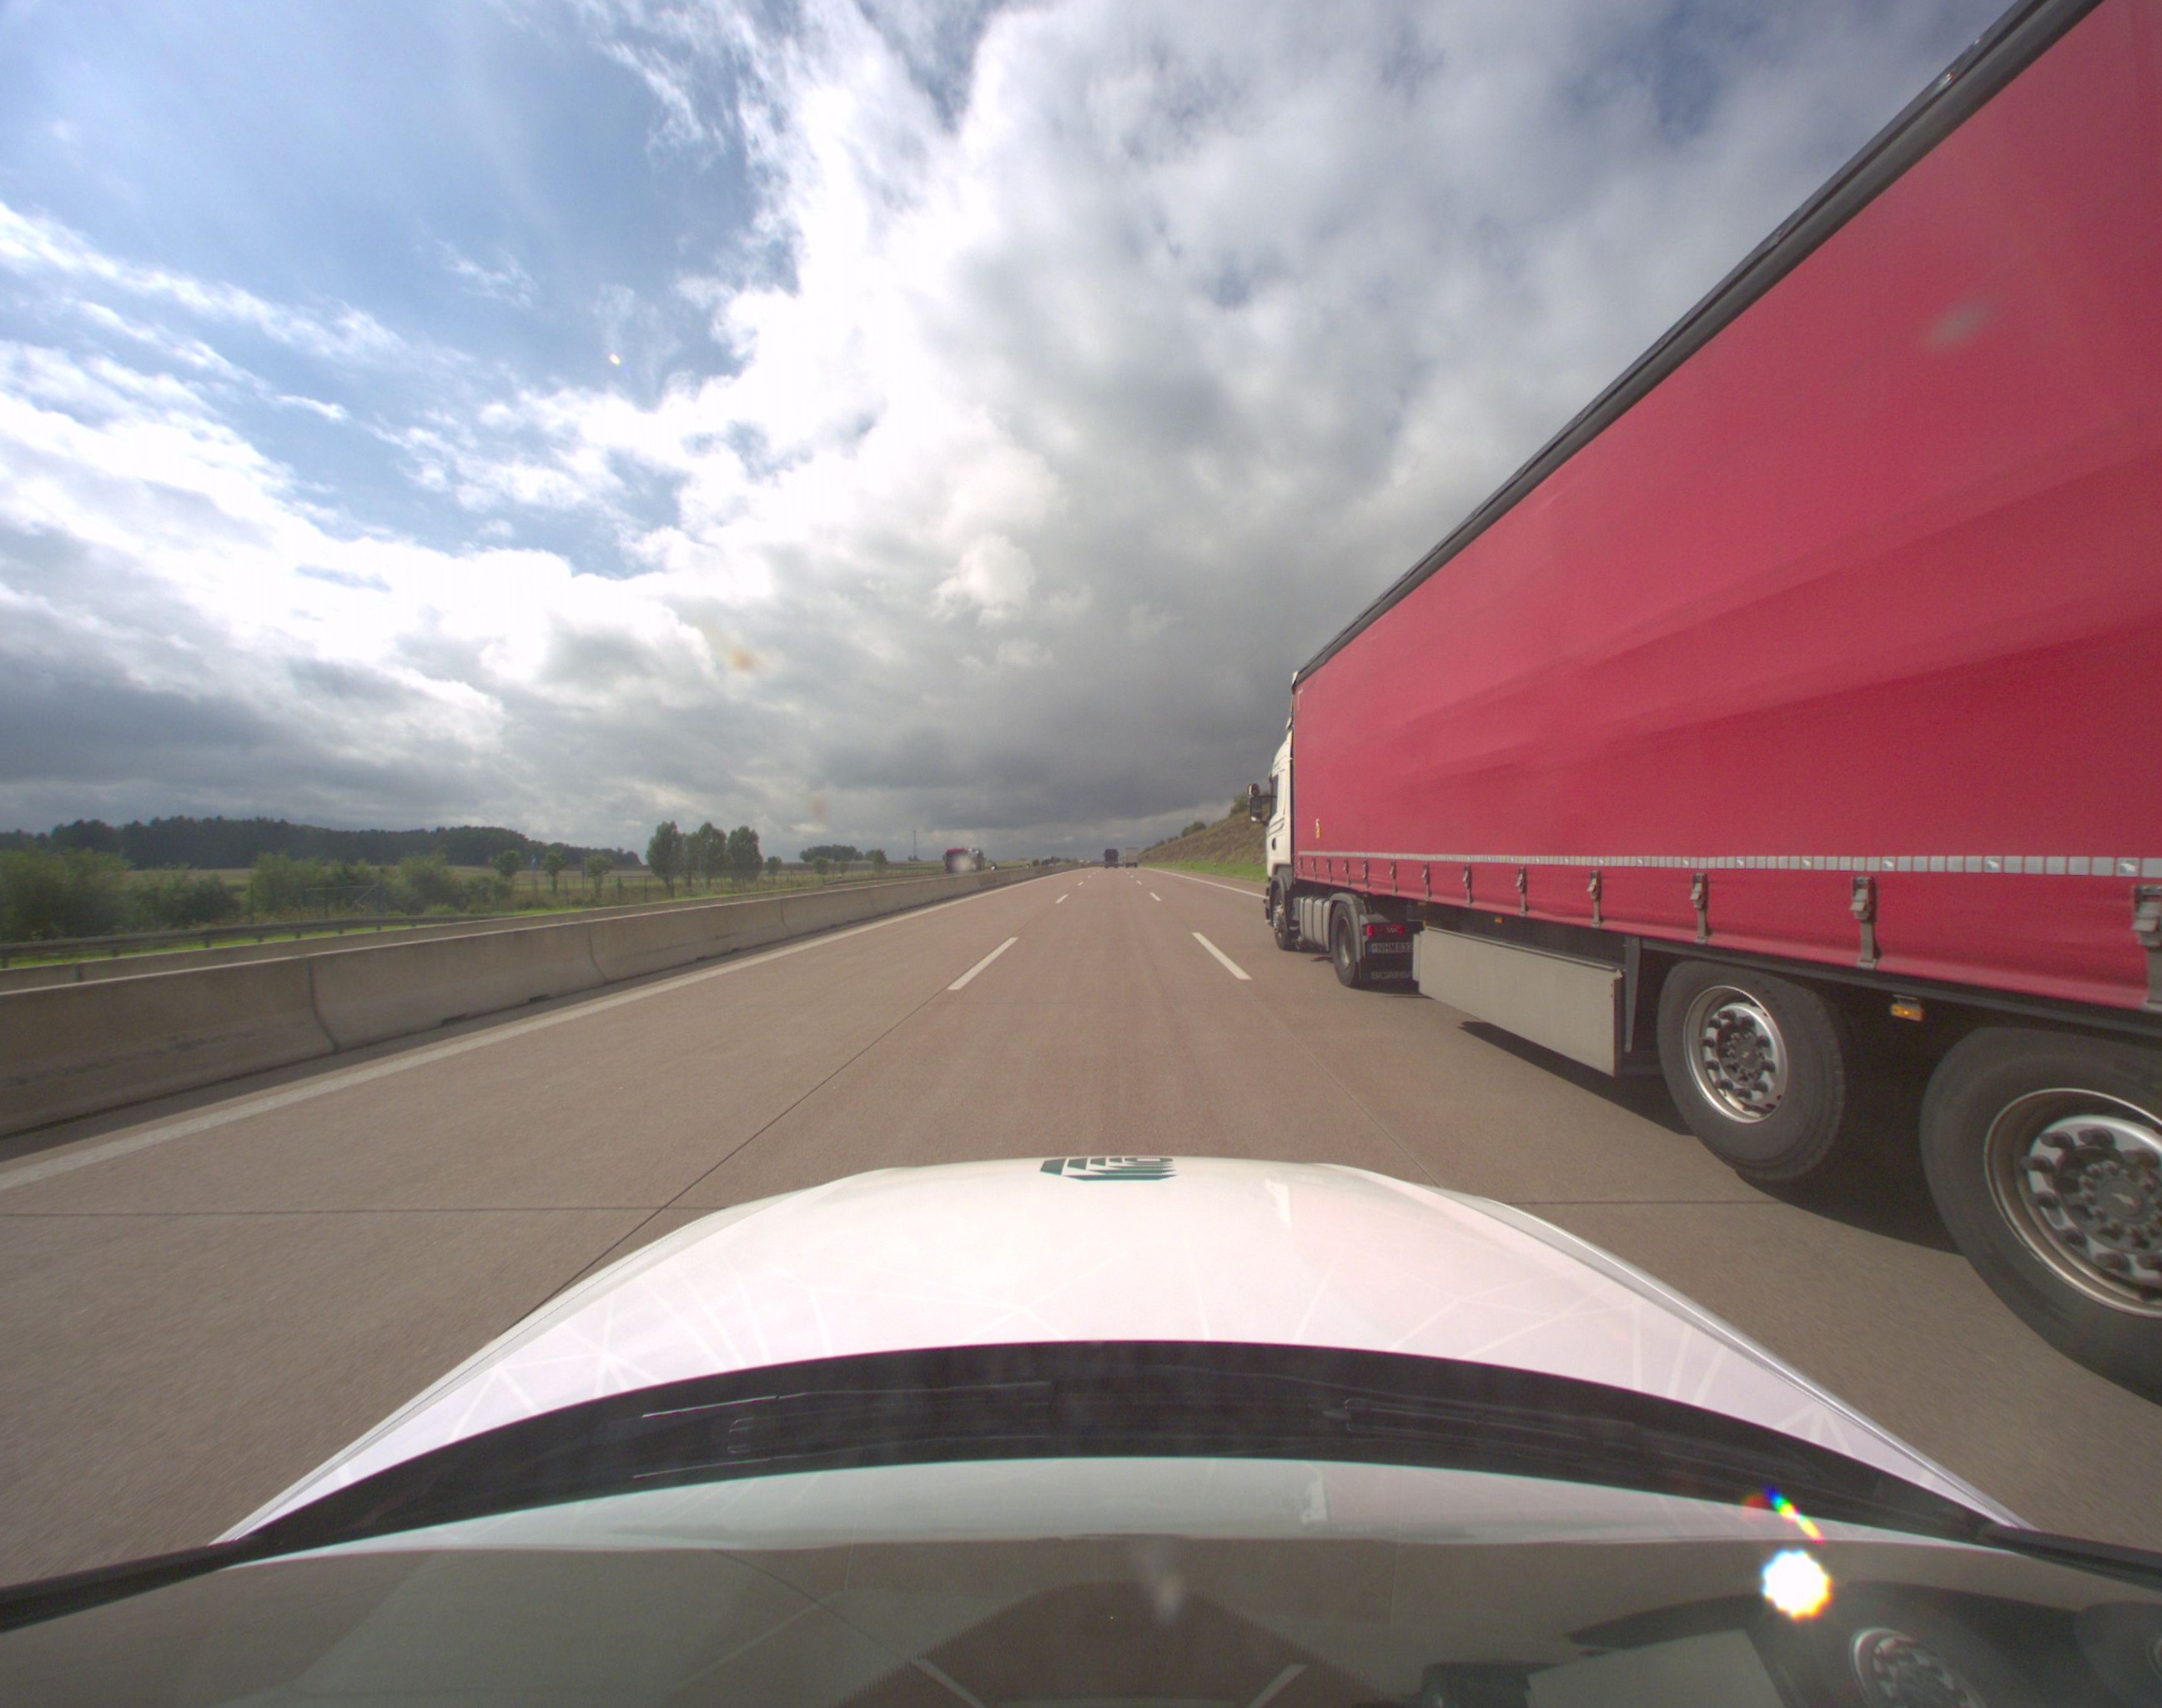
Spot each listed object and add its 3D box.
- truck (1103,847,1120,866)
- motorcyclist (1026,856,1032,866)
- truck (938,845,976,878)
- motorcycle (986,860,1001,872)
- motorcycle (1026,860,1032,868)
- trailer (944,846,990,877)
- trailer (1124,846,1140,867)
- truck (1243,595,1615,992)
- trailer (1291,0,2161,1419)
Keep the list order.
[{"bbox_3d":[5.695,0.541,153.713,2.838,3.550,8.319,-1,-1,1],"label":"truck"},{"bbox_3d":[-9.548,1.229,149.564,1.005,1.861,0.744,0,-1,3],"label":"motorcyclist"},{"bbox_3d":[-15.785,0.930,104.281,3.181,3.978,7.735,0,0,3],"label":"truck"},{"bbox_3d":[-11.273,1.485,104.768,1.547,1.543,2.843,0,0,3],"label":"motorcycle"},{"bbox_3d":[-9.543,1.813,149.546,0.923,1.303,2.344,0,0,3],"label":"motorcycle"},{"bbox_3d":[-15.380,0.978,111.471,3.181,3.978,16.337,0,0,3],"label":"trailer"},{"bbox_3d":[10.172,0.491,164.252,2.738,4.012,8.669,-1,-1,0],"label":"trailer"},{"bbox_3d":[4.296,-0.613,11.846,2.664,4.106,6.618,-1,-1,2],"label":"truck"},{"bbox_3d":[4.075,-0.646,4.831,2.662,4.093,12.794,-1,0,2],"label":"trailer"}]
